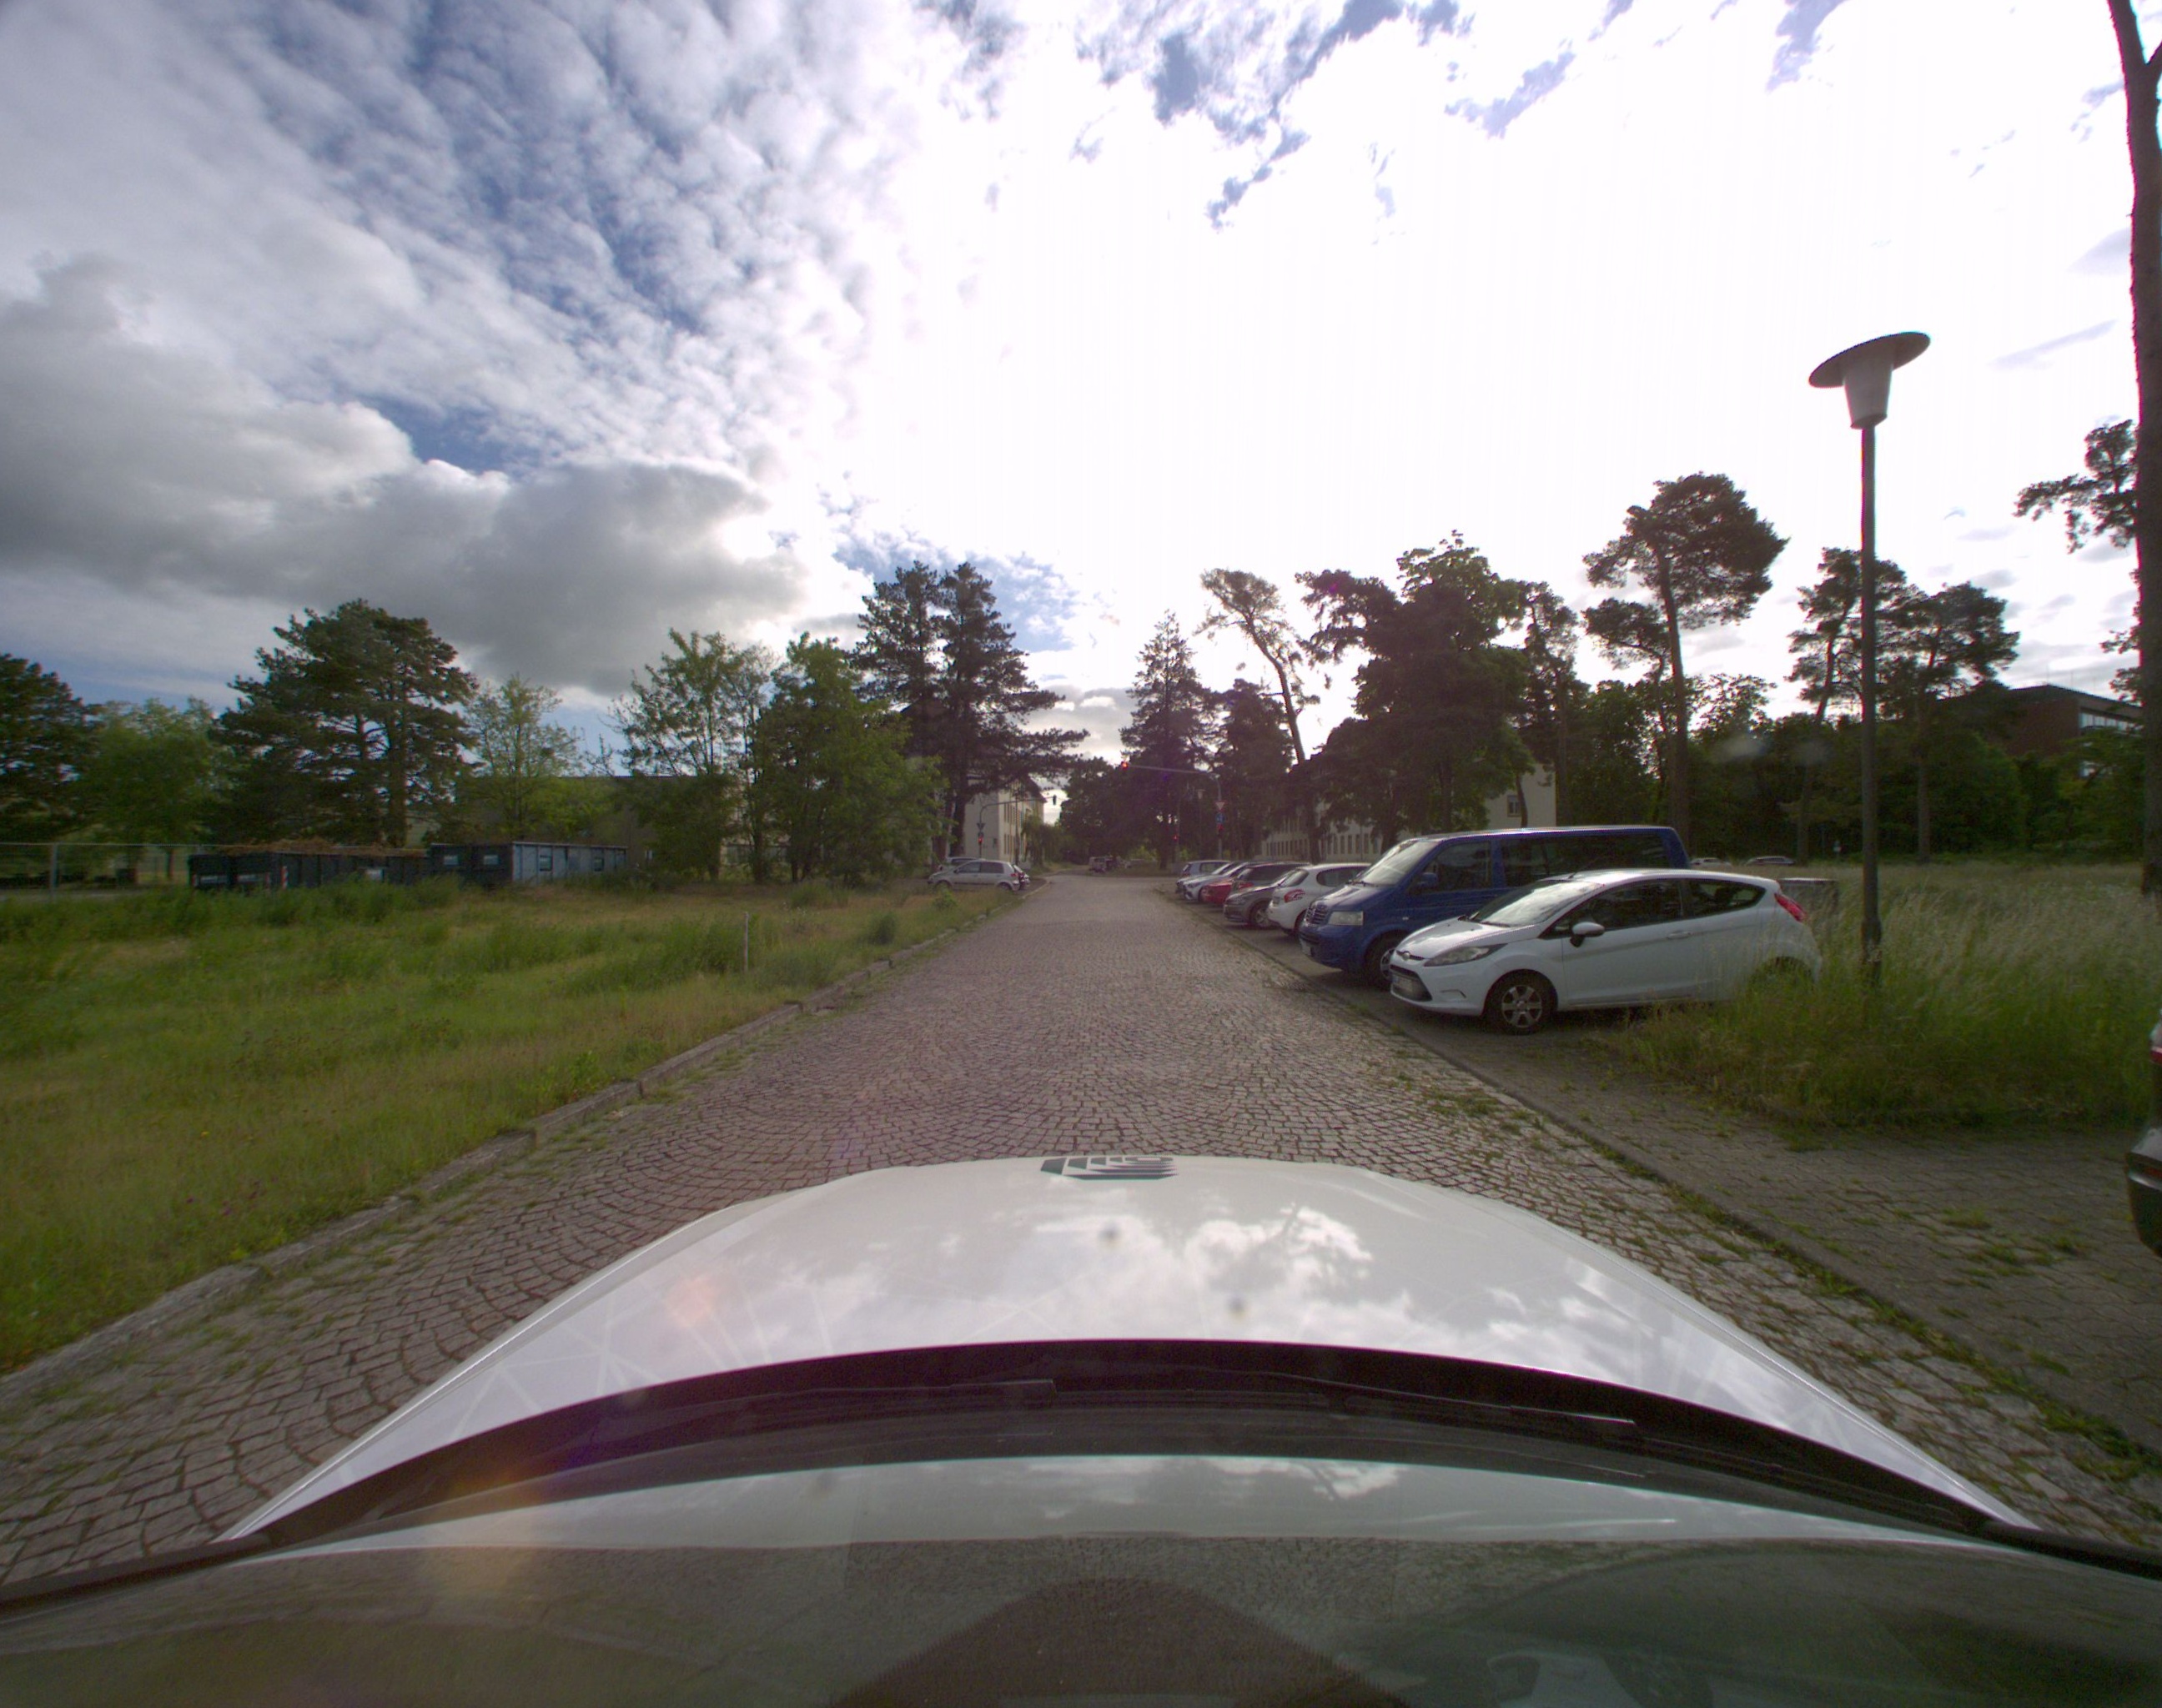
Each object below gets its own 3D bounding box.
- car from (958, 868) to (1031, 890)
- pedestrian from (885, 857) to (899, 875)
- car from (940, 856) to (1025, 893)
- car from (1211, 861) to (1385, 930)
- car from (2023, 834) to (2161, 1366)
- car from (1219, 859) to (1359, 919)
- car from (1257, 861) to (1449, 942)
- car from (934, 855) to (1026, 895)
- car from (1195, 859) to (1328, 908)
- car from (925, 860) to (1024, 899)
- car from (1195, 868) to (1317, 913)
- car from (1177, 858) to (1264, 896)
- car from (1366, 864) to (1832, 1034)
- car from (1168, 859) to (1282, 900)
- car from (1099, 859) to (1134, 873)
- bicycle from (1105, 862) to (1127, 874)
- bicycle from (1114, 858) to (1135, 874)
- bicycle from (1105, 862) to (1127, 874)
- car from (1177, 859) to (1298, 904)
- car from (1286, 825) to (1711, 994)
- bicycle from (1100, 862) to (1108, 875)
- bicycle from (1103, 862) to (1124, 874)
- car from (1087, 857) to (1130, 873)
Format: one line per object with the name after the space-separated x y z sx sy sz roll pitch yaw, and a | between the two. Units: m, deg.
-4.384 1.266 41.604 3.665 1.094 1.643 0 0 -6 | car
-15.743 0.974 67.908 0.895 1.498 0.904 0 -1 2 | pedestrian
-4.715 0.958 39.349 3.982 1.750 1.923 0 -1 -6 | car
5.050 0.929 19.123 3.598 1.506 1.658 0 0 -10 | car
5.186 0.730 1.932 3.938 1.580 1.761 0 0 -1 | car
5.579 0.907 21.998 3.292 1.504 1.658 0 0 -10 | car
5.315 0.902 16.200 3.283 1.504 1.663 0 0 -1 | car
-4.457 0.925 36.337 3.981 1.706 1.996 0 0 -6 | car
5.923 0.955 26.958 3.980 1.543 1.661 0 -1 -5 | car
-4.357 1.022 33.846 3.981 1.552 1.996 0 0 -6 | car
5.256 1.078 24.714 3.287 1.267 1.661 0 0 -5 | car
5.895 0.972 34.578 3.383 1.543 1.389 0 0 -5 | car
5.050 0.871 8.284 3.712 1.424 1.653 -2 0 -2 | car
5.615 0.988 32.010 4.116 1.543 1.661 0 0 -5 | car
4.273 1.427 98.122 3.981 1.644 1.996 0 -1 -5 | car
3.588 1.422 84.165 2.157 1.268 0.811 0 -1 -6 | bicycle
4.531 1.276 84.870 2.157 1.616 0.811 0 -1 -6 | bicycle
3.580 1.410 83.578 2.157 1.268 0.811 0 -1 -6 | bicycle
5.551 0.956 29.195 3.980 1.543 1.661 0 0 -5 | car
5.310 0.688 10.769 4.769 2.040 1.737 0 -1 -2 | car
2.252 1.417 79.828 0.806 1.268 1.974 0 0 2 | bicycle
3.377 1.441 85.381 2.157 1.268 0.811 0 -1 -6 | bicycle
3.378 1.340 101.408 5.050 2.014 1.993 0 -1 -10 | car
